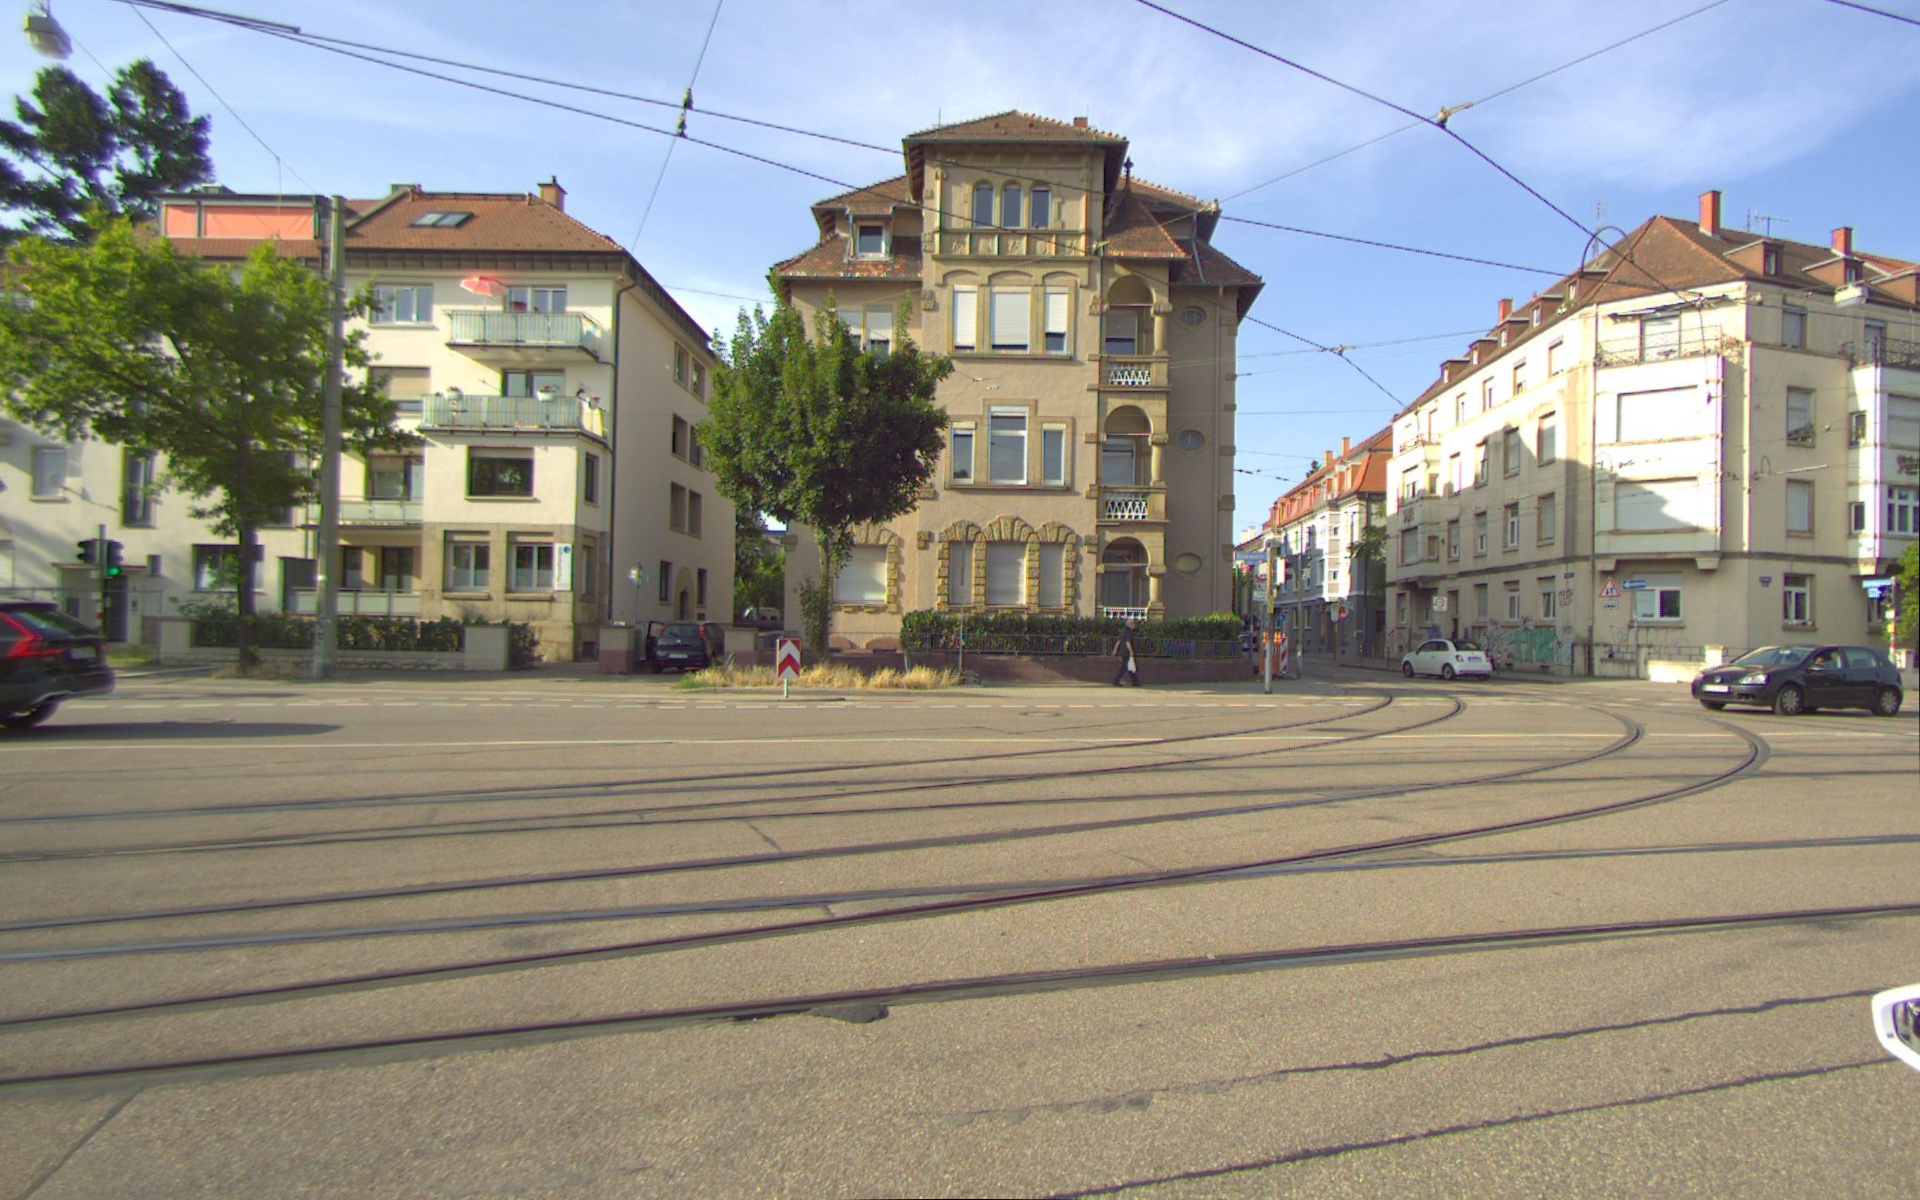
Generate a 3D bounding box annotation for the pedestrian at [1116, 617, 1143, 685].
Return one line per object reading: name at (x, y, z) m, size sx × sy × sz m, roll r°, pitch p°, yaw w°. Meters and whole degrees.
pedestrian at (4.273, 1.276, 25.339) m, size 0.592 × 1.673 × 0.681 m, roll 1°, pitch -1°, yaw 4°

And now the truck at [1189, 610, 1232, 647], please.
truck at (27.597, 3.152, 111.229) m, size 3.191 × 3.777 × 9.930 m, roll 1°, pitch -1°, yaw 6°

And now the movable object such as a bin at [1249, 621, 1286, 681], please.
movable object such as a bin at (9.192, 1.503, 29.969) m, size 0.260 × 1.732 × 2.374 m, roll 0°, pitch -2°, yaw 36°

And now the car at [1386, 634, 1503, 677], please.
car at (17.862, 2.024, 37.250) m, size 1.770 × 1.476 × 3.989 m, roll 1°, pitch -2°, yaw -14°

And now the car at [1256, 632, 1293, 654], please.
car at (22.529, 3.092, 72.052) m, size 1.763 × 1.476 × 4.003 m, roll 1°, pitch -1°, yaw 6°

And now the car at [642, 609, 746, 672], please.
car at (-7.522, 1.140, 28.776) m, size 1.740 × 1.653 × 4.002 m, roll 1°, pitch -1°, yaw 2°

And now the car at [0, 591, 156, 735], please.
car at (-11.956, 0.675, 10.917) m, size 4.667 × 1.514 × 1.766 m, roll 0°, pitch -1°, yaw -17°

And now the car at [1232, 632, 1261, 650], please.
car at (25.261, 3.578, 88.615) m, size 1.763 × 1.476 × 4.003 m, roll 1°, pitch -1°, yaw 6°

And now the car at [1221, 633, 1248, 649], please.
car at (25.614, 3.805, 93.663) m, size 1.763 × 1.476 × 4.003 m, roll 1°, pitch -1°, yaw 6°

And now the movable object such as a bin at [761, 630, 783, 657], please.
movable object such as a bin at (-6.014, 1.396, 32.127) m, size 0.598 × 0.825 × 0.655 m, roll 1°, pitch -1°, yaw -6°

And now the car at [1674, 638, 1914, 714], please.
car at (17.329, 1.561, 20.945) m, size 3.929 × 1.452 × 1.769 m, roll 1°, pitch -1°, yaw -11°
